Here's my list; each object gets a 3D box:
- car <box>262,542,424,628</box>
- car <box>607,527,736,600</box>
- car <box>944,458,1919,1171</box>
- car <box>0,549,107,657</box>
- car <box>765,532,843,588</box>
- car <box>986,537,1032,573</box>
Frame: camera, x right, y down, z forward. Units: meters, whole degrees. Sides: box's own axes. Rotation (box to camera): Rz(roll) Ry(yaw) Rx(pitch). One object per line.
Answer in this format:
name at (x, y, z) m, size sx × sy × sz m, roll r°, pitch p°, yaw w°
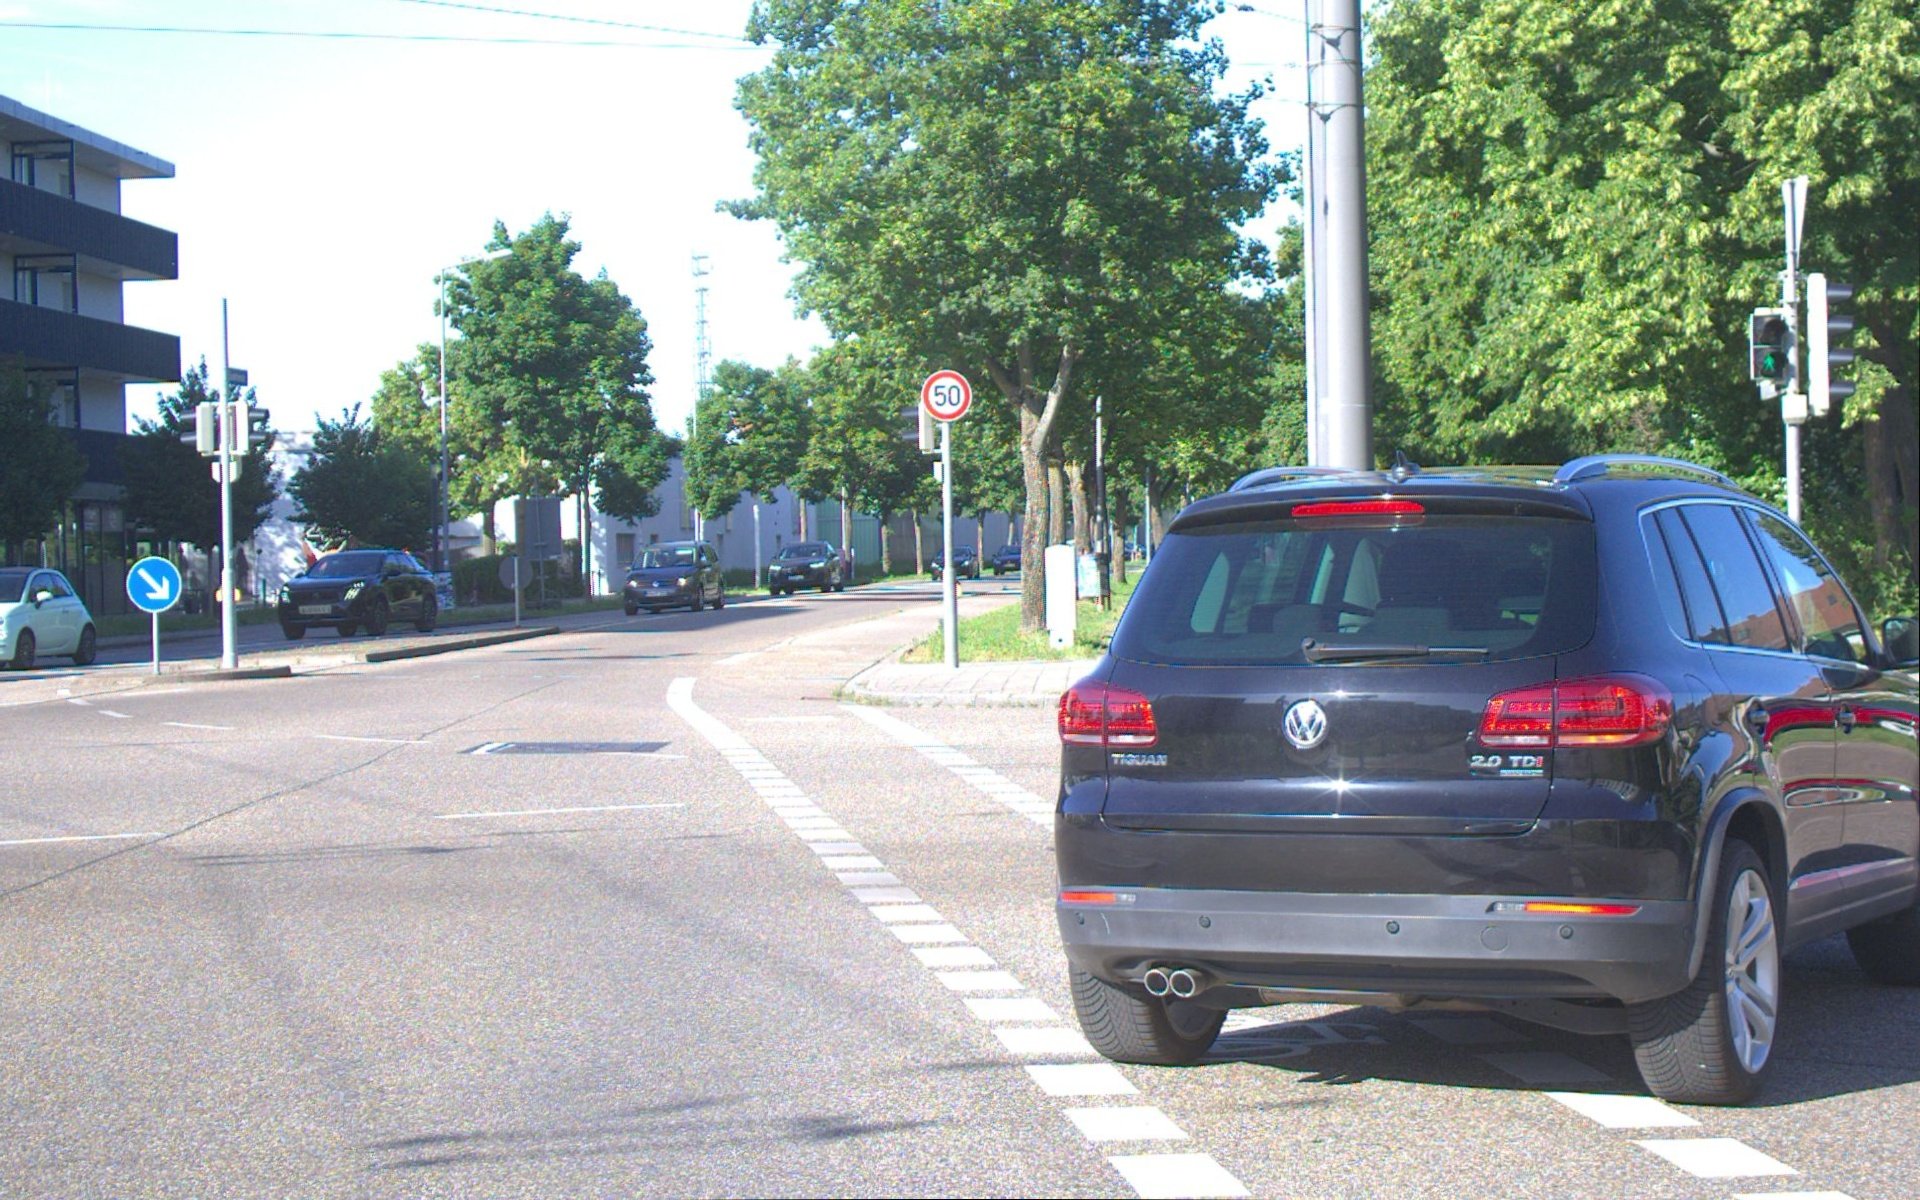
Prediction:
car at (-11.744, -0.324, 65.757) m, size 1.967 × 1.529 × 4.740 m, roll -1°, pitch 1°, yaw 3°
car at (-6.612, -0.863, 79.152) m, size 1.994 × 1.566 × 3.999 m, roll -2°, pitch 1°, yaw 9°
car at (1.851, 0.431, 10.380) m, size 1.932 × 1.648 × 4.508 m, roll 1°, pitch 2°, yaw 27°
car at (-14.140, 0.071, 50.256) m, size 1.994 × 1.482 × 3.543 m, roll -3°, pitch 1°, yaw 8°
car at (-5.118, -1.329, 113.293) m, size 1.994 × 1.731 × 5.199 m, roll -2°, pitch 1°, yaw 3°
car at (2.453, -2.224, 170.499) m, size 1.895 × 1.752 × 3.999 m, roll 1°, pitch 1°, yaw 7°
